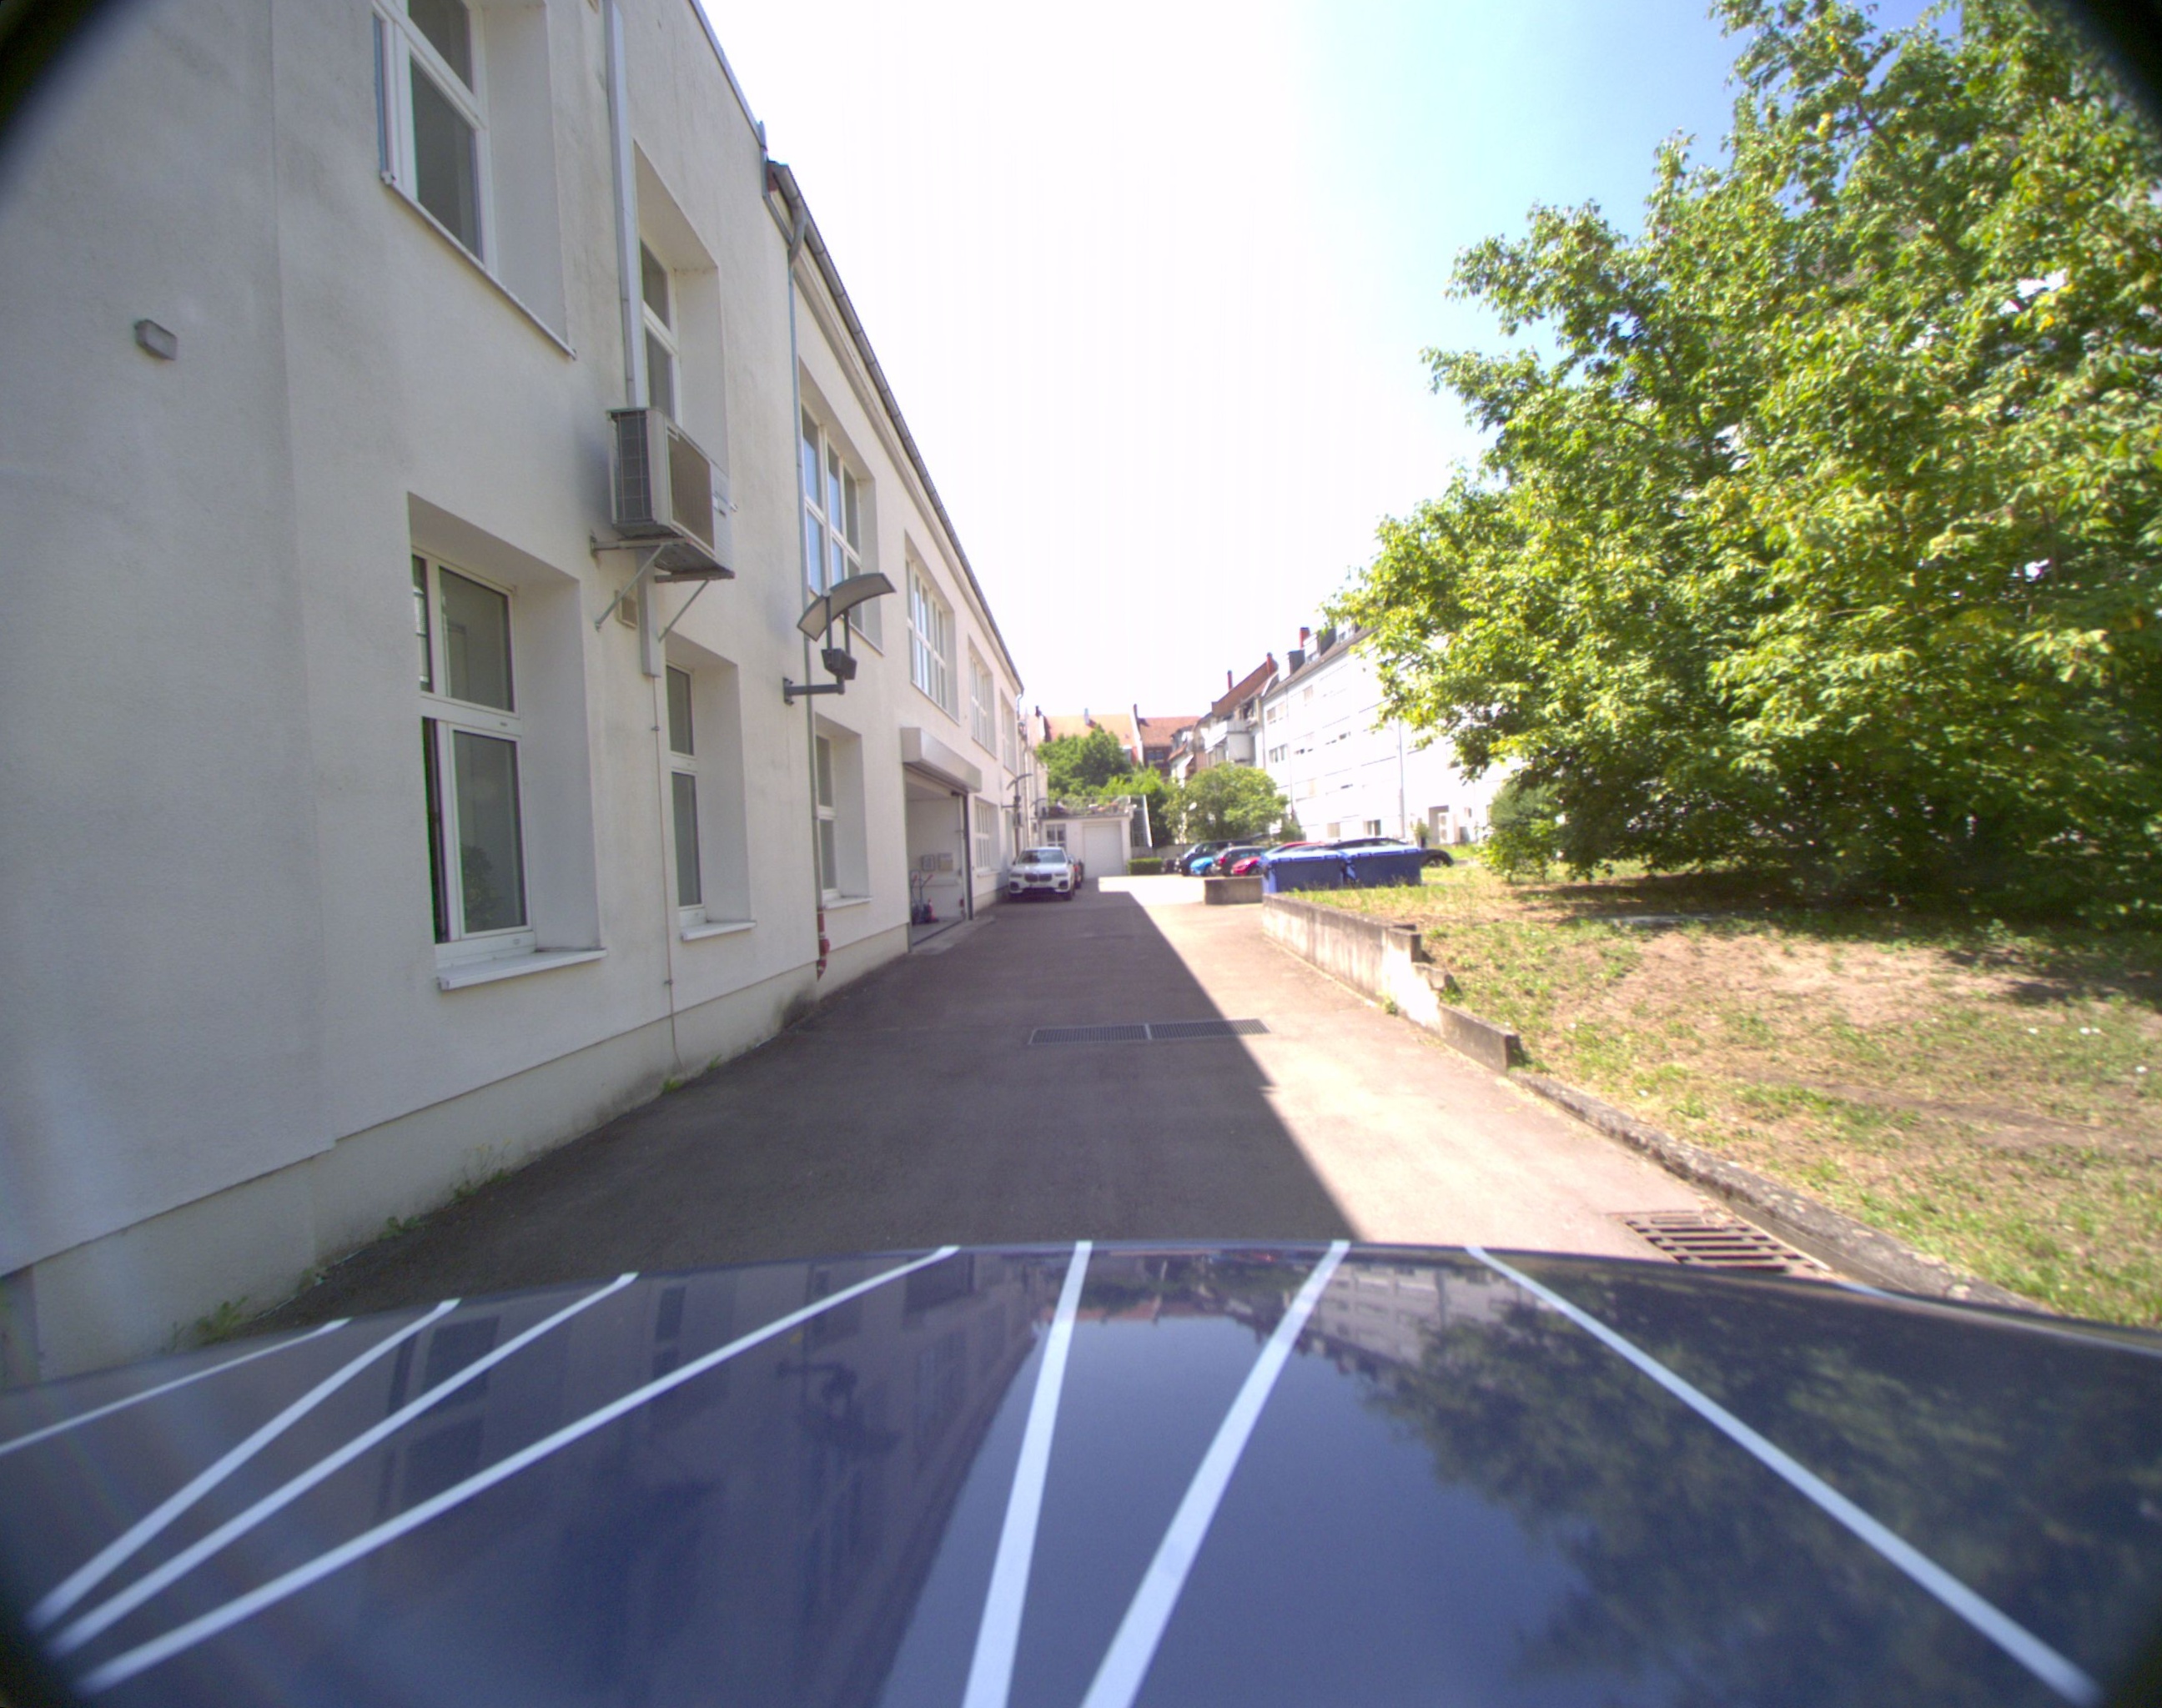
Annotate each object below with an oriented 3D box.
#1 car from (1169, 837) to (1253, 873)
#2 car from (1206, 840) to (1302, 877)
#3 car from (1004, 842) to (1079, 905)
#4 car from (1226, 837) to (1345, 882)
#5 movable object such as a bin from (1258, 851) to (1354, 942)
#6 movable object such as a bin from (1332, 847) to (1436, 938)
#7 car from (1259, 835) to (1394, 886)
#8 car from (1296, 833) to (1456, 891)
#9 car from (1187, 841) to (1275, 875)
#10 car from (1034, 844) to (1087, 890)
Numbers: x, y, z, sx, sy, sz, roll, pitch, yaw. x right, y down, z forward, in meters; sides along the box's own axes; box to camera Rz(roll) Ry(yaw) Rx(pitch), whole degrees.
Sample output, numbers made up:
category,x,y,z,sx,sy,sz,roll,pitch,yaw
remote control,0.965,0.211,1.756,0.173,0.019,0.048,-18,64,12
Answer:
category,x,y,z,sx,sy,sz,roll,pitch,yaw
car,7.306,0.039,42.980,4.223,1.813,2.009,-3,1,-3
car,8.357,0.215,36.954,4.223,1.560,1.612,-3,1,-3
car,-1.189,0.550,25.169,2.011,1.793,4.727,-3,1,2
car,8.112,0.204,30.340,4.223,1.560,1.612,-3,1,-3
movable object such as a bin,3.741,0.681,12.746,1.271,1.380,1.095,-3,2,2
movable object such as a bin,5.038,0.618,12.729,1.271,1.380,1.095,-3,2,2
car,8.666,0.209,27.017,4.223,1.560,1.612,-3,1,-3
car,9.369,0.229,24.288,4.444,1.560,1.612,-3,1,-3
car,7.841,0.199,40.030,4.223,1.560,1.612,-3,1,-3
car,-0.830,0.509,33.967,2.011,1.793,4.727,-3,1,2
